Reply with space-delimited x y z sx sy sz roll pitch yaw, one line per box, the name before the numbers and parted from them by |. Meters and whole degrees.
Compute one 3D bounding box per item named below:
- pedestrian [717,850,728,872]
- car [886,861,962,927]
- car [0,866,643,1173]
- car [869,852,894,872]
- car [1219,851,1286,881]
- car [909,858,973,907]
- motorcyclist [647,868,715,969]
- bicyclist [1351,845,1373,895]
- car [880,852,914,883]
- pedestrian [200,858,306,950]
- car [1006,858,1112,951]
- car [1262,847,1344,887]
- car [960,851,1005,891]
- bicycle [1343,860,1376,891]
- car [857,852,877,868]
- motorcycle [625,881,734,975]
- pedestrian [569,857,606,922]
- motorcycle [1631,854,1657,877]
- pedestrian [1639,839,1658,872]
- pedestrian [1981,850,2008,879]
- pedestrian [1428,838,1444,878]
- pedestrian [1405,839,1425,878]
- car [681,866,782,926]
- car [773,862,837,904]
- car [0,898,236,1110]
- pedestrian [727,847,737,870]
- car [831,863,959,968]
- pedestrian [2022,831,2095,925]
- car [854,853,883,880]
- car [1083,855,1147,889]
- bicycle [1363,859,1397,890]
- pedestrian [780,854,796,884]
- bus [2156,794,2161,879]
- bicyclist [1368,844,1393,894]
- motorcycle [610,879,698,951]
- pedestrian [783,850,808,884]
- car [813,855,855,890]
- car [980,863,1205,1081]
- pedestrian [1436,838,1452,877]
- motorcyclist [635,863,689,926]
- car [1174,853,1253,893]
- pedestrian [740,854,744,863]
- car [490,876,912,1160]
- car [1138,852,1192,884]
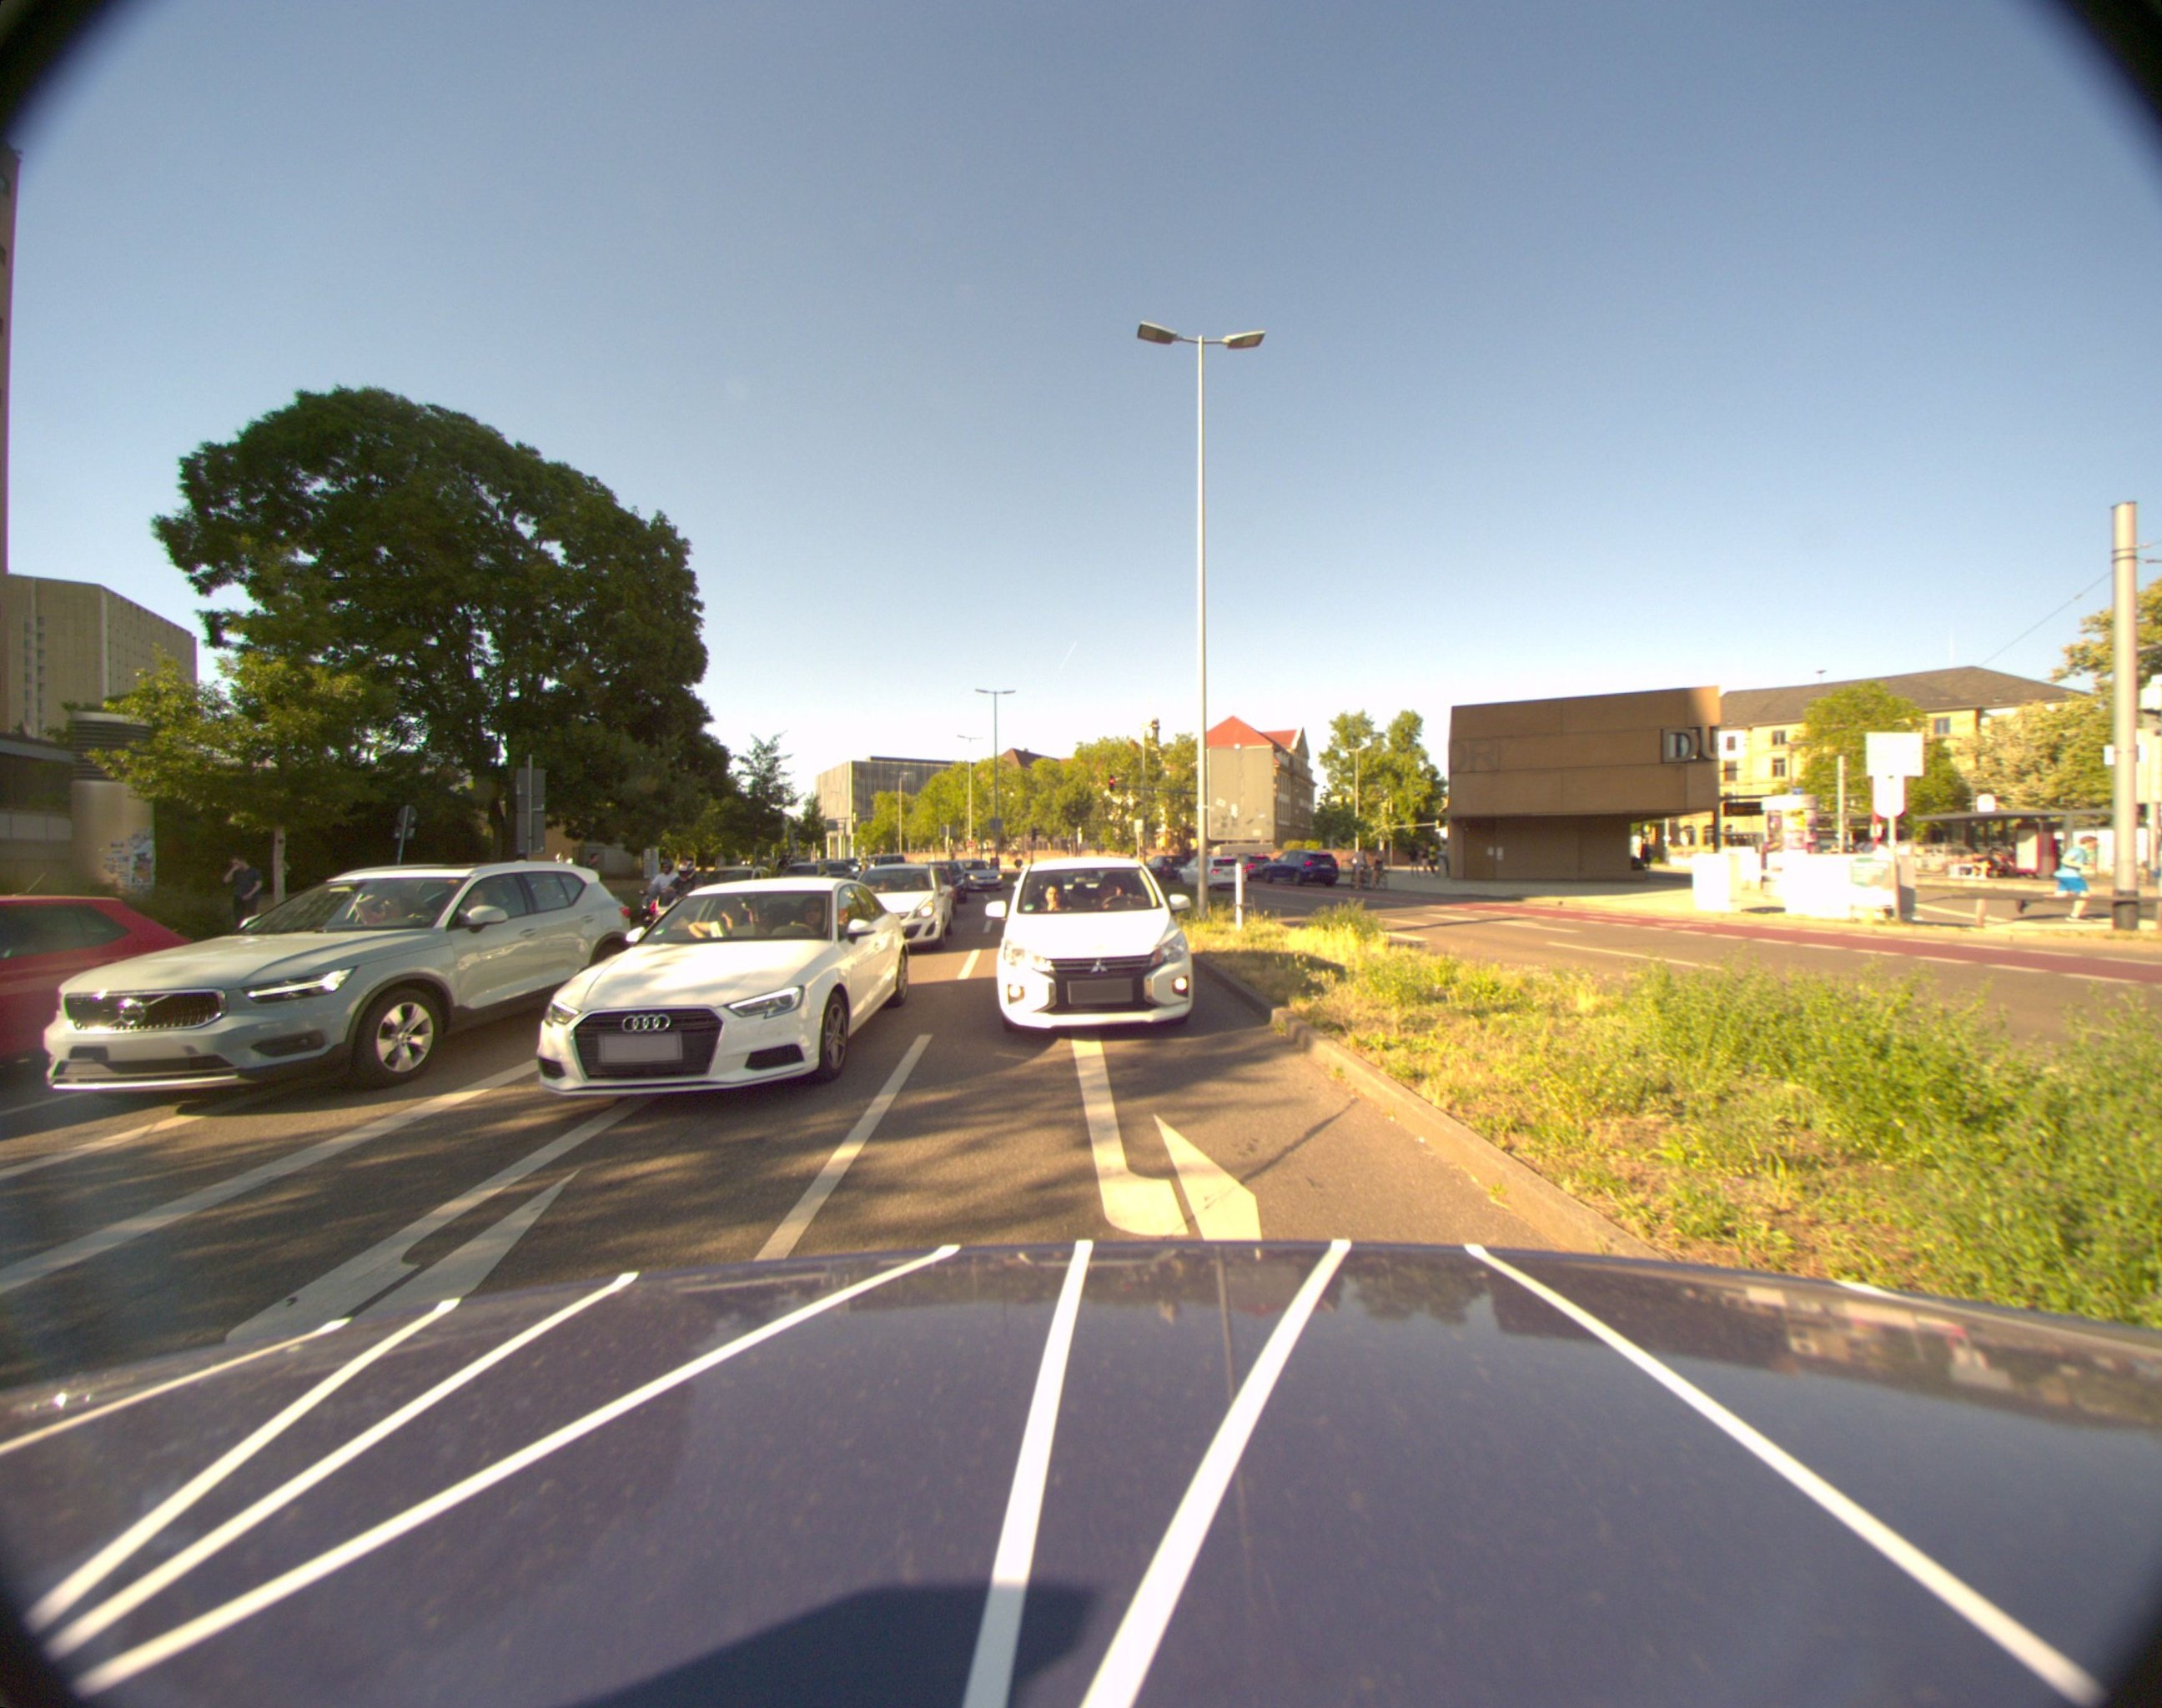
pedestrian | -24.922 0.459 52.826 0.548 1.521 0.603 -3 2 -20
car | -4.113 0.983 20.415 1.629 1.451 4.038 -2 1 -7
car | -5.788 1.004 6.555 1.628 1.611 4.222 -2 1 -2
car | -18.787 0.694 71.407 1.881 1.805 3.993 -1 0 -20
car | 9.029 0.588 40.432 1.851 1.483 4.387 1 0 -11
car | -5.028 0.935 26.863 1.747 1.536 3.994 -1 0 -17
motorcyclist | -6.610 1.039 12.600 0.711 1.581 0.690 -2 1 -5
bicyclist | 11.401 0.634 30.829 0.611 2.002 0.565 -1 1 -16
car | -11.224 0.795 46.302 1.880 1.805 3.995 -1 0 -14
pedestrian | -16.374 0.959 15.056 1.010 1.711 0.884 -2 1 -11
car | -0.291 0.882 15.135 1.755 1.451 4.189 -2 1 2
car | 10.046 0.536 34.714 1.757 1.680 4.183 -1 1 -14
car | -4.494 0.706 34.210 1.746 1.696 3.996 -1 0 -11
bicycle | 11.341 0.854 31.011 0.464 1.185 1.395 -3 1 -18
car | -24.273 0.681 86.216 1.881 1.805 3.993 -1 0 -20
motorcycle | -6.621 1.169 12.693 0.718 1.297 2.233 -2 1 -5
pedestrian | -14.617 1.031 22.512 0.464 1.875 0.696 -2 2 17
motorcycle | 25.865 0.535 34.918 0.948 1.061 0.331 -1 2 38
pedestrian | 34.404 0.085 46.053 0.780 2.002 0.771 -4 2 -43
pedestrian | 38.883 0.451 32.345 0.539 1.180 0.659 -1 2 28
pedestrian | 18.020 0.219 38.571 0.655 2.002 0.469 -2 2 20
pedestrian | 17.233 0.227 39.253 0.777 2.002 0.773 -2 2 12
car | -10.205 1.147 22.483 1.746 1.516 3.996 -1 0 -10
car | -11.350 1.135 31.506 1.746 1.536 3.996 -1 0 -9
car | -8.779 1.198 5.142 1.628 1.451 4.040 -2 1 -2
pedestrian | -24.354 0.307 53.030 0.548 1.597 0.603 -3 2 -20
car | -3.191 0.968 13.750 1.628 1.451 4.039 -2 1 -6
pedestrian | 20.124 0.475 15.663 0.797 1.886 0.612 0 1 40
car | -15.131 0.840 54.183 1.880 1.805 3.995 -1 0 -14
car | 1.594 0.833 37.335 1.758 1.451 4.182 -3 1 -18
bicycle | 12.116 0.828 30.815 0.464 1.185 1.395 -3 1 -18
pedestrian | -16.125 0.832 41.837 0.596 1.585 0.594 -2 1 -9
bus | 38.560 -0.483 22.203 2.695 3.133 12.194 -2 1 26
bicyclist | 12.154 0.592 30.834 0.611 2.002 0.708 -1 1 -16
motorcycle | -9.073 1.252 16.279 0.718 1.297 2.233 -2 1 -5
pedestrian | -17.447 0.771 46.462 1.143 2.002 1.285 -2 1 -11
car | -13.478 0.953 41.593 1.880 1.805 3.995 -1 0 -14
car | 0.010 0.901 7.671 1.628 1.451 4.040 -2 1 -2
pedestrian | 18.766 0.178 39.320 0.655 2.002 0.469 -2 2 20
motorcyclist | -9.121 0.868 16.570 0.718 1.297 0.735 -2 1 -5
car | 5.615 0.766 32.778 1.850 1.483 4.387 -2 1 -11
pedestrian | -58.704 0.805 131.498 0.410 1.477 0.486 -1 1 0
car | -2.594 0.995 6.282 1.628 1.396 3.832 -2 1 -2
car | 4.259 0.680 38.986 1.756 1.451 4.185 -2 1 -8
